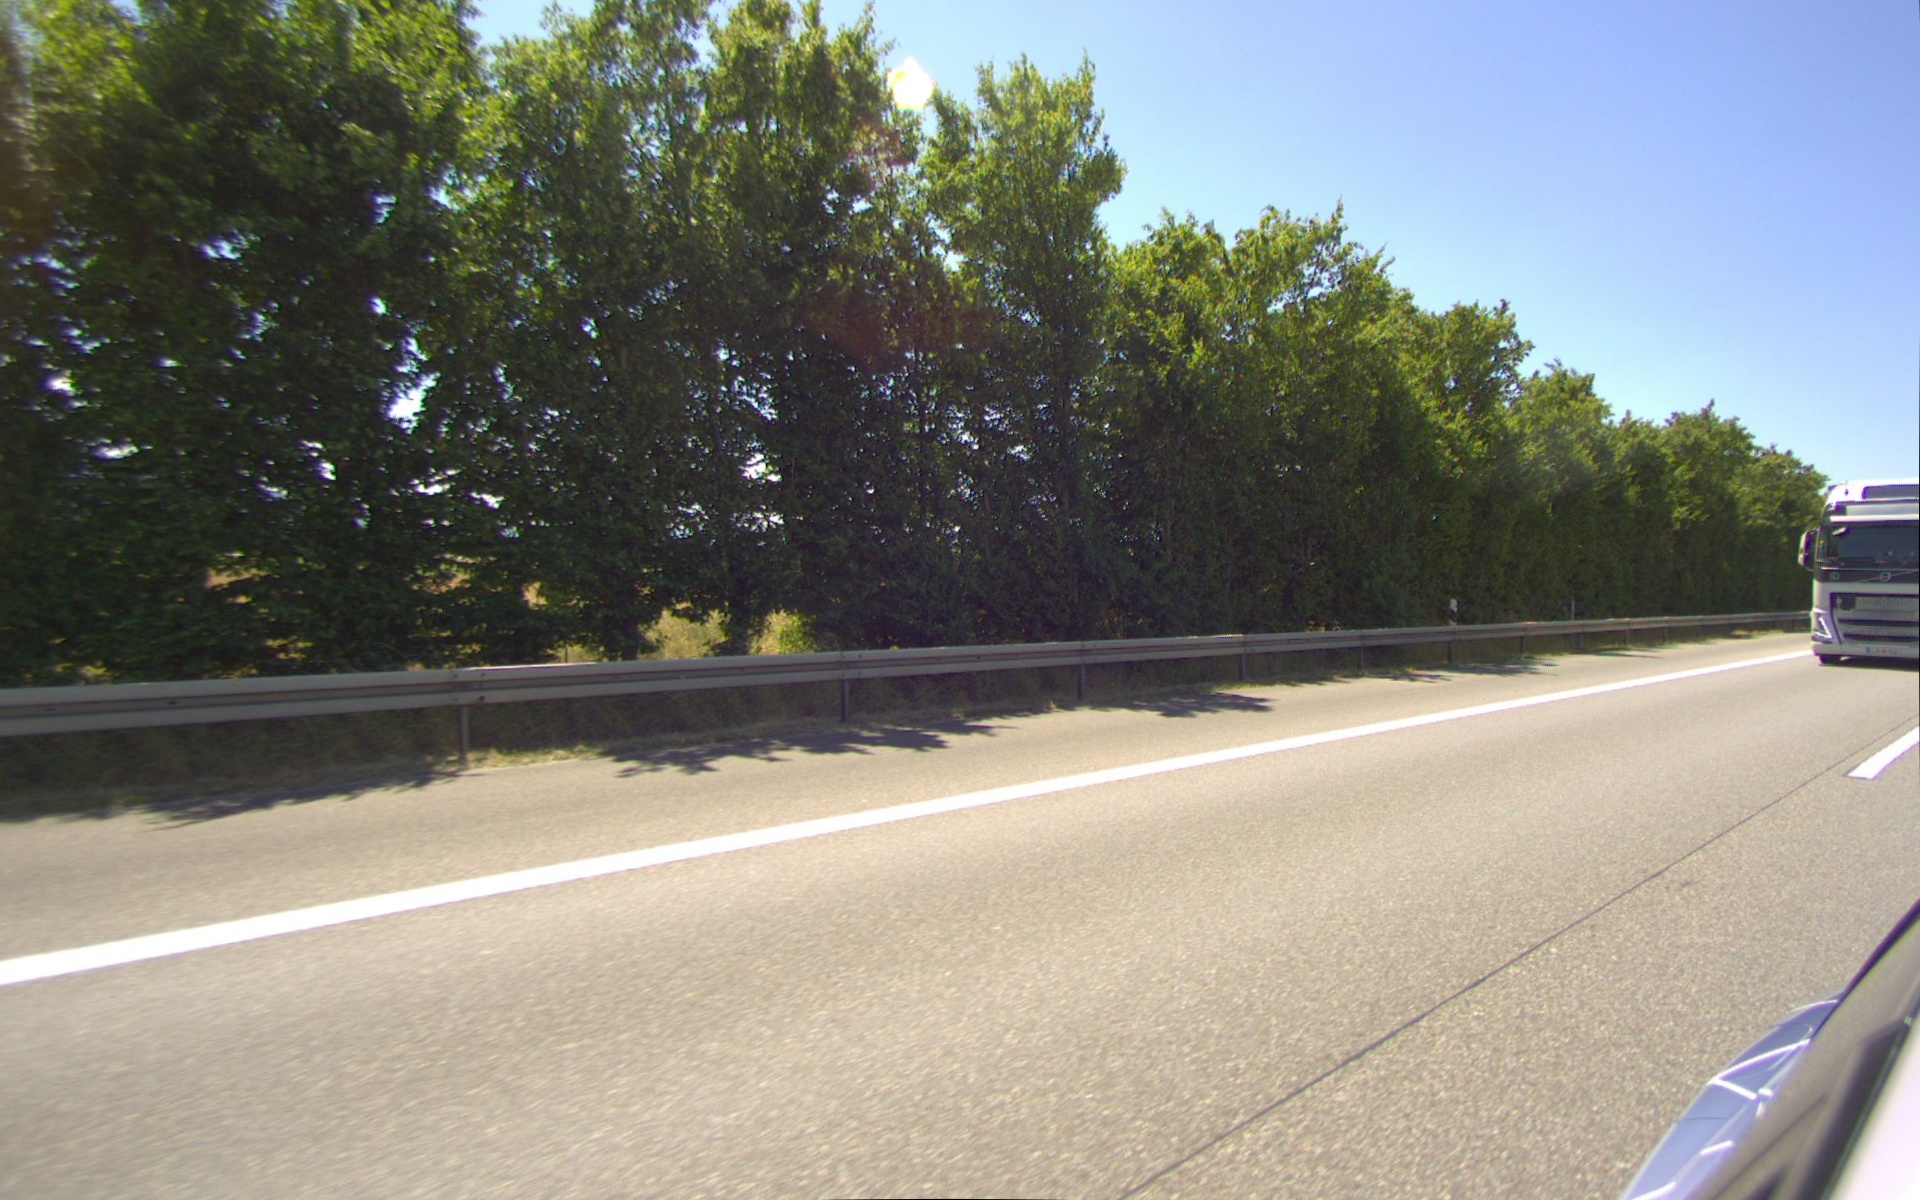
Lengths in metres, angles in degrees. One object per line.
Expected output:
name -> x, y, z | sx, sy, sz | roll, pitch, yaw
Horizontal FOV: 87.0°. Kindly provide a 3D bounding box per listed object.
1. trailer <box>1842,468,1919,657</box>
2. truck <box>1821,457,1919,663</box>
trailer -> 25.987, -0.876, 26.444 | 13.637, 4.113, 2.474 | -1, 0, -41
truck -> 21.383, -0.826, 22.472 | 6.209, 4.113, 2.474 | 0, 0, -41
